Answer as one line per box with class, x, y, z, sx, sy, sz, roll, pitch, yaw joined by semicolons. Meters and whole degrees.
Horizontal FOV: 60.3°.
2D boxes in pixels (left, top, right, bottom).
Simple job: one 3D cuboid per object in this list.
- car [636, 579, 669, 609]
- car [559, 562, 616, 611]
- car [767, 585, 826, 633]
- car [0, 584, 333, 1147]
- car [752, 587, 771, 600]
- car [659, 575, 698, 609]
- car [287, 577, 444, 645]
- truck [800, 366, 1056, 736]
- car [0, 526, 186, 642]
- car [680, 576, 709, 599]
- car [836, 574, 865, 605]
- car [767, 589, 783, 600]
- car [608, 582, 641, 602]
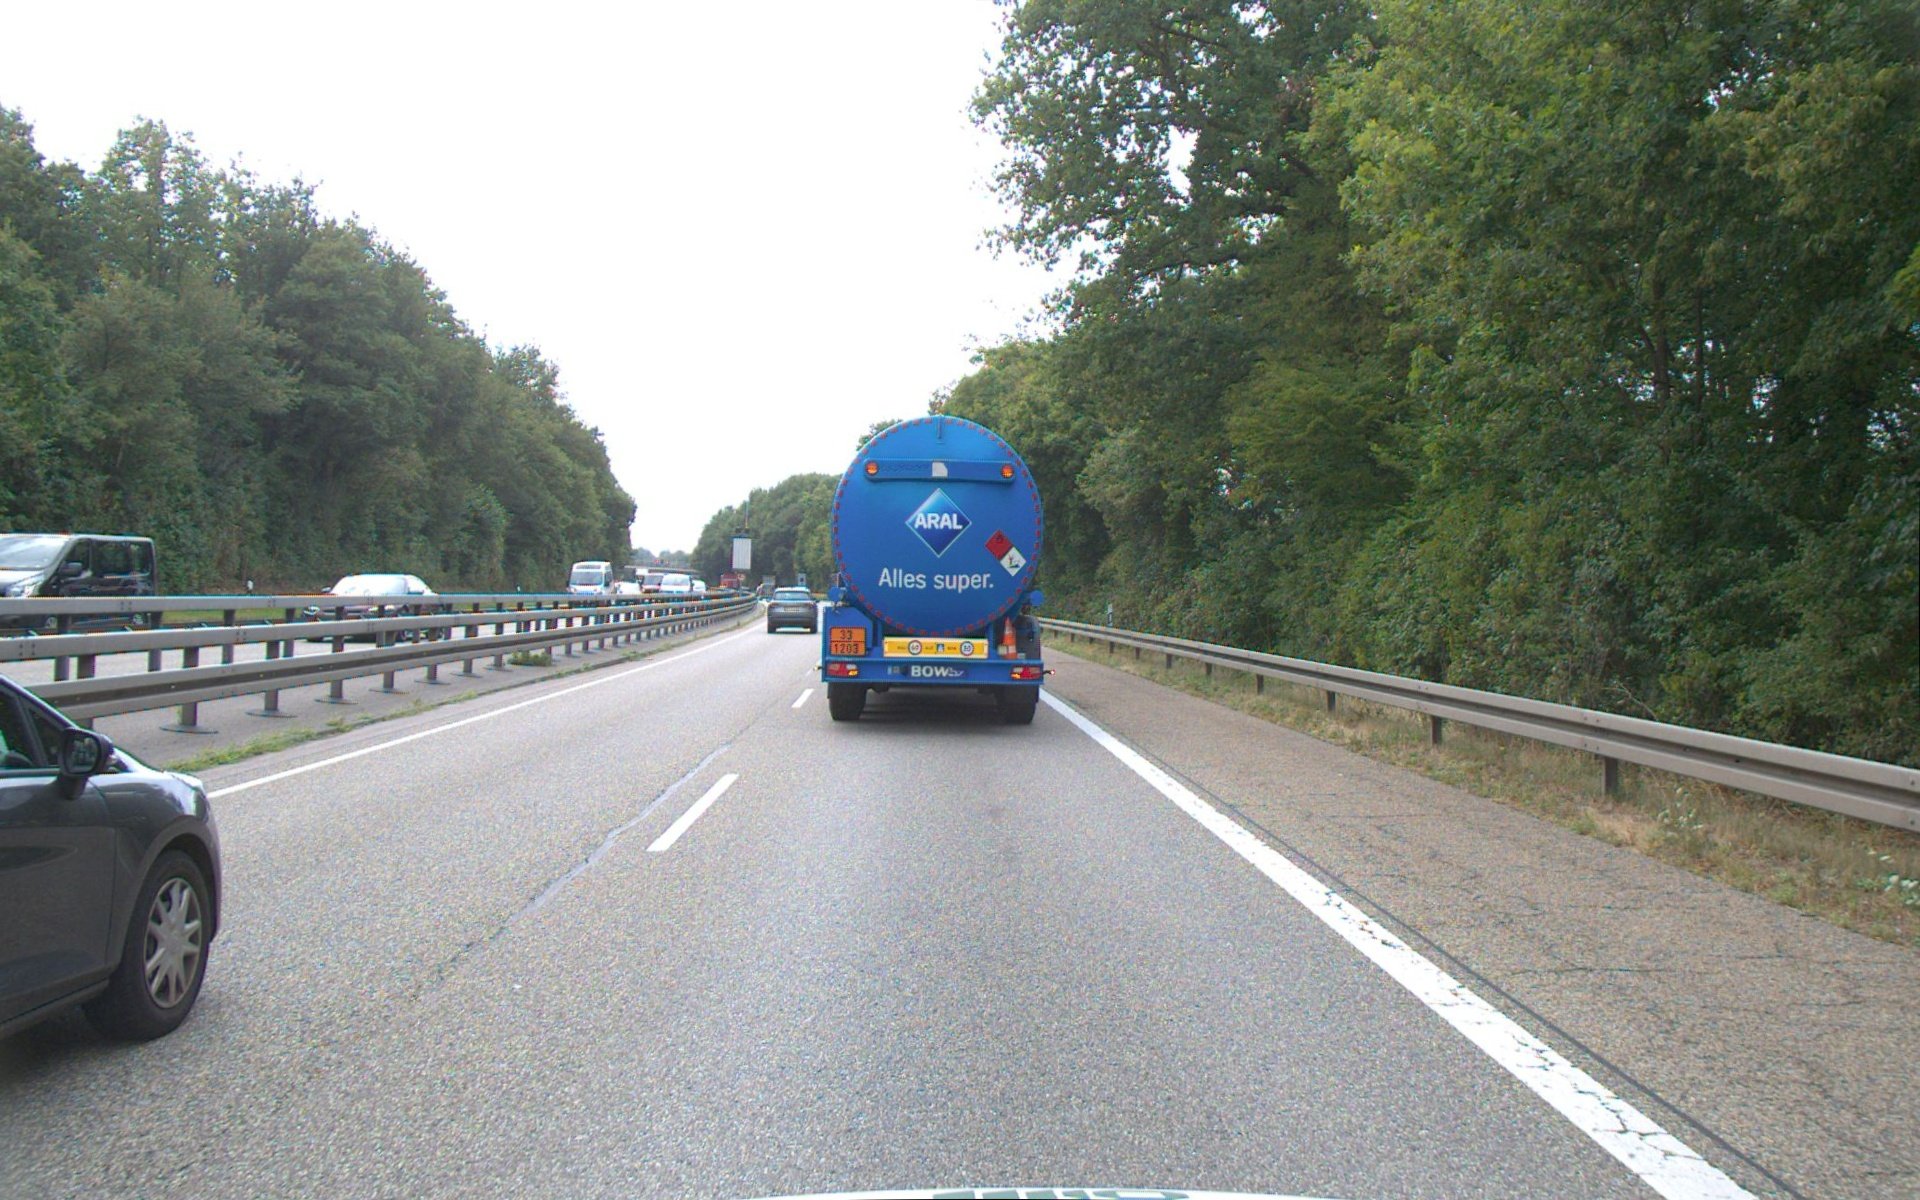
car;-24.090;-0.457;129.814;2.026;2.295;5.369;0;0;-5
car;-21.039;-0.739;93.631;2.266;2.656;5.549;0;0;-4
car;-5.876;0.320;59.811;1.789;1.637;4.166;0;0;-2
car;-3.420;0.694;4.374;1.789;1.483;4.639;0;0;-1
car;-23.282;-0.741;194.065;1.957;1.579;3.990;0;0;-10
car;-17.068;-0.483;100.470;1.785;2.018;5.054;0;0;-4
car;-12.060;0.215;33.864;1.621;1.300;4.711;0;0;-2
truck;-0.322;-0.536;21.450;2.699;3.914;7.688;0;0;0
car;-15.623;-0.246;28.776;1.994;1.835;5.121;0;0;-2
car;-19.469;-0.905;121.450;1.746;1.590;4.011;0;0;-4
car;-8.017;-0.751;121.169;1.953;2.284;3.998;0;0;-2
car;-25.973;-0.768;232.352;1.957;1.579;3.991;0;0;-9
car;-23.411;-0.549;115.544;1.739;1.319;4.104;0;0;-4
